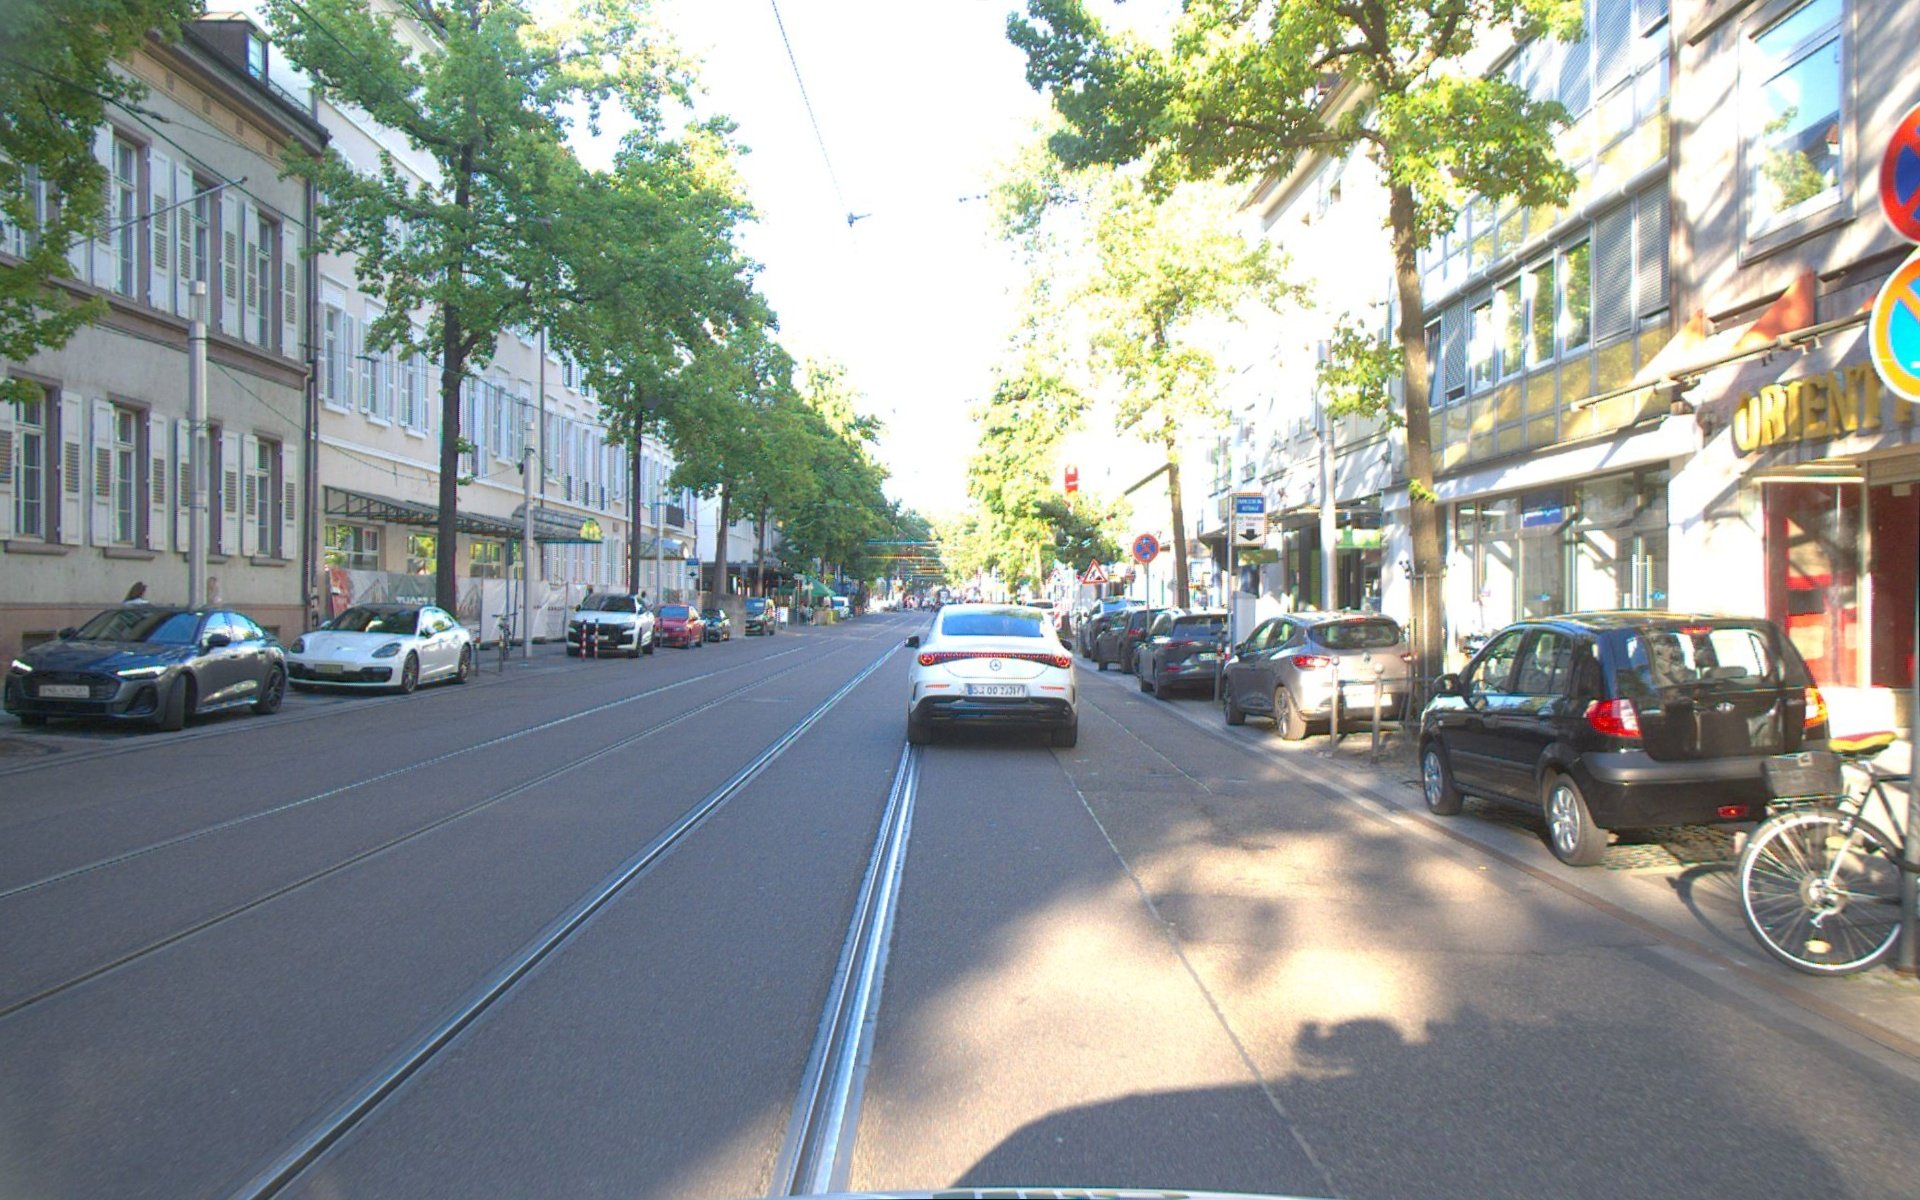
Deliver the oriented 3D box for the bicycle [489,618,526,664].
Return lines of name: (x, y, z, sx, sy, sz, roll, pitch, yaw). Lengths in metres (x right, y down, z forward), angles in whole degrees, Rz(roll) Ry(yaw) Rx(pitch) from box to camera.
bicycle: (-11.061, 0.980, 40.459, 0.582, 1.069, 2.005, -1, 0, -7)

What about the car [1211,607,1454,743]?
car: (4.448, 0.842, 20.385, 1.779, 1.512, 3.995, 0, 0, -5)

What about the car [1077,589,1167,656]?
car: (4.421, 0.594, 45.856, 1.953, 1.743, 4.865, 0, 0, -1)

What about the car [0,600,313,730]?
car: (-9.918, 0.726, 20.735, 1.923, 1.437, 4.843, 0, 0, -3)

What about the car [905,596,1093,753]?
car: (0.400, 0.747, 18.411, 1.830, 1.494, 4.042, 2, 0, 0)

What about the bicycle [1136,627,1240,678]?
bicycle: (4.429, 1.020, 32.164, 1.994, 0.981, 0.282, -1, 0, 5)

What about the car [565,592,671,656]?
car: (-9.647, 0.656, 47.041, 1.921, 1.721, 5.013, 0, 0, 1)

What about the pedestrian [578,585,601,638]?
pedestrian: (-12.849, 0.400, 57.420, 0.693, 1.838, 0.675, 0, 0, -6)

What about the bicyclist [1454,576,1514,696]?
bicyclist: (7.639, 0.515, 24.125, 0.626, 1.713, 0.599, -1, 0, -2)

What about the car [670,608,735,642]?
car: (-10.163, 0.969, 65.499, 1.953, 1.315, 3.999, 0, 0, -1)

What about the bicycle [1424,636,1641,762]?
bicycle: (5.437, 0.921, 15.738, 1.821, 1.093, 0.710, -1, 0, -10)

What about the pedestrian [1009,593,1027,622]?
pedestrian: (3.623, 0.470, 102.843, 0.904, 1.805, 0.870, 0, 0, -15)

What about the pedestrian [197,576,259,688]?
pedestrian: (-11.563, 0.497, 26.139, 0.672, 1.751, 0.656, 0, 0, 0)

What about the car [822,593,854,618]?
car: (-10.389, 0.453, 141.359, 1.951, 2.049, 4.003, -1, 0, 8)

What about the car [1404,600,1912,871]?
car: (4.516, 0.786, 11.352, 1.764, 1.483, 3.652, -2, 0, -3)

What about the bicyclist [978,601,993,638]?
bicyclist: (1.209, 0.901, 78.015, 0.710, 1.732, 0.811, 0, -1, 0)

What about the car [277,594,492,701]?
car: (-9.823, 0.763, 28.688, 1.906, 1.668, 4.909, 0, 0, 1)

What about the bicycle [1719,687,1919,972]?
bicycle: (4.244, 0.969, 7.119, 1.690, 1.158, 0.547, -3, -1, 20)

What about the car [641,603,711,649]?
car: (-9.749, 0.861, 57.037, 1.654, 1.525, 4.234, 0, 0, 1)

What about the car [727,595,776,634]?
car: (-9.889, 0.666, 78.693, 1.519, 1.827, 3.170, -1, 0, 8)

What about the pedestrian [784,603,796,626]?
pedestrian: (-11.153, 0.941, 108.355, 0.557, 1.489, 0.650, 0, 0, 19)

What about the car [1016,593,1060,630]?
car: (3.869, 0.547, 82.841, 1.953, 1.758, 4.240, -1, 0, 0)

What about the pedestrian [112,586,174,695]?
pedestrian: (-13.052, 0.642, 26.440, 0.661, 1.709, 0.647, -1, 0, -1)

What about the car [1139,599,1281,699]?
car: (4.144, 0.766, 28.025, 1.832, 1.478, 4.107, -3, 0, 1)

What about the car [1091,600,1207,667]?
car: (4.309, 0.738, 38.217, 1.802, 1.461, 3.994, 0, 0, -7)

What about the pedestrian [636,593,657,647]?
pedestrian: (-11.900, 0.746, 62.739, 0.693, 2.039, 0.675, 0, 0, -4)

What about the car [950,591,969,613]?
car: (-0.024, 0.254, 198.809, 1.955, 2.586, 3.995, 0, -1, -5)

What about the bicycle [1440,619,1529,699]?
bicycle: (7.652, 0.840, 24.222, 0.634, 1.093, 1.860, -1, 0, -2)

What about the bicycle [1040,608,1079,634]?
bicycle: (4.309, 0.902, 71.668, 1.686, 1.080, 0.581, -1, 0, 3)

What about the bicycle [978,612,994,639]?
bicycle: (1.207, 1.194, 78.104, 0.725, 1.209, 2.160, -1, -1, 0)
